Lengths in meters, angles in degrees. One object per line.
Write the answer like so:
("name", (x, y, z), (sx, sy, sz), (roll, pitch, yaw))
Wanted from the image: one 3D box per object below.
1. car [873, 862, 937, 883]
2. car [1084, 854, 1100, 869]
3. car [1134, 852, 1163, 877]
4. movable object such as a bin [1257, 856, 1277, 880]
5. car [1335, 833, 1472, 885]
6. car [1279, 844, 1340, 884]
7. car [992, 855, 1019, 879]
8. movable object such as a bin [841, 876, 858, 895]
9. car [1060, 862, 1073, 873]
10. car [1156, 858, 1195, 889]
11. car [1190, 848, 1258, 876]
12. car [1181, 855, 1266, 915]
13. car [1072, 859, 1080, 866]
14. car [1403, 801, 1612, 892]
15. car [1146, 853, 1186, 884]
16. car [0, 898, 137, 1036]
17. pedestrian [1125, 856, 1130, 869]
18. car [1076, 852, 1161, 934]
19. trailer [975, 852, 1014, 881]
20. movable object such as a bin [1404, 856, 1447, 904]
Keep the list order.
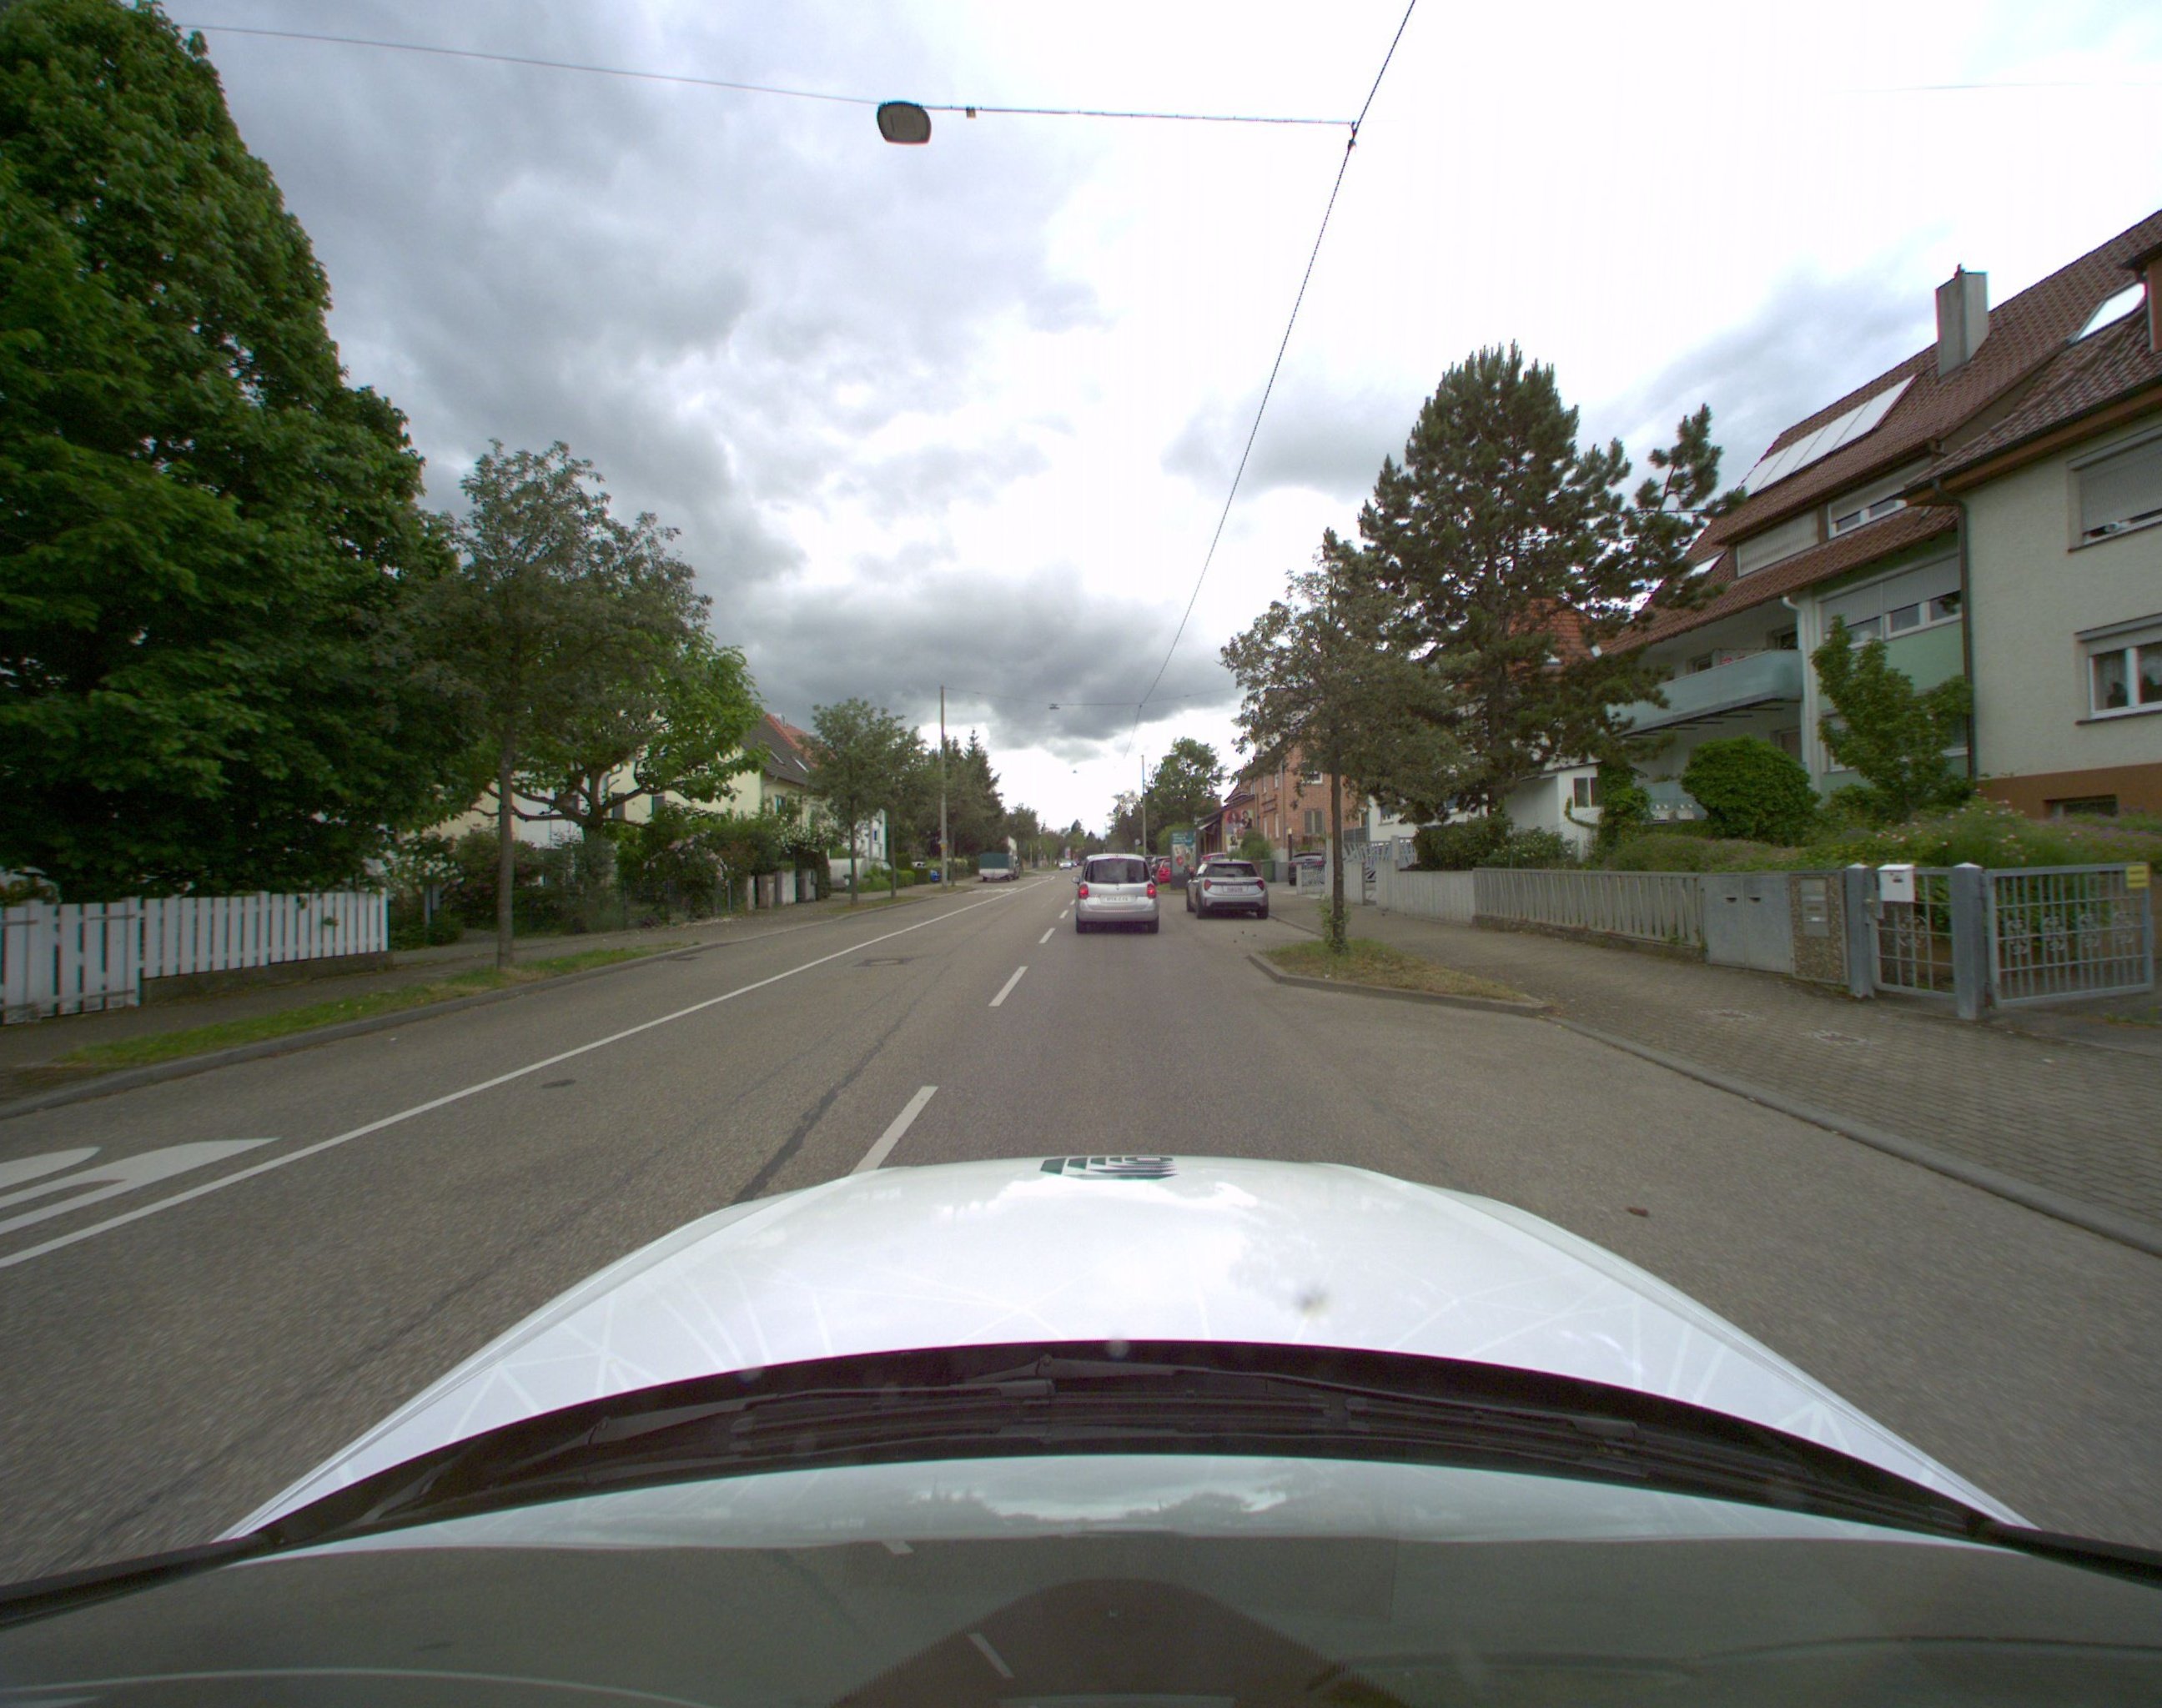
("car", (-11.535, 1.216, 53.441), (3.985, 1.338, 1.573), (0, -2, -9))
("car", (1.316, 0.888, 97.755), (1.822, 1.675, 3.575), (-2, -1, 1))
("car", (5.048, 0.809, 61.227), (1.806, 1.743, 4.000), (-2, -1, 1))
("movable object such as a bin", (8.697, 0.660, 38.102), (0.773, 1.104, 0.691), (-2, 0, 0))
("car", (11.691, 0.187, 29.636), (4.256, 1.506, 1.691), (-5, -2, -7))
("car", (9.933, 0.398, 35.212), (1.802, 1.380, 4.506), (-5, 0, 24))
("car", (-6.257, 1.102, 67.929), (1.882, 1.922, 4.560), (0, -1, 0))
("movable object such as a bin", (-10.817, 1.472, 38.061), (0.571, 0.902, 0.549), (-3, -2, 45))
("car", (-2.330, 2.203, 131.516), (1.902, 1.618, 3.994), (-1, -1, -4))
("car", (4.597, 0.920, 39.919), (1.655, 1.393, 3.671), (-2, 0, 3))
("car", (9.407, 0.533, 53.790), (3.984, 1.496, 1.805), (-4, 0, -8))
("car", (3.604, 0.775, 21.204), (1.644, 1.382, 4.001), (-1, -1, 2))
("car", (-1.118, 1.926, 177.923), (1.717, 1.411, 3.997), (0, -1, -2))
("car", (11.391, -0.110, 22.174), (1.982, 2.013, 4.684), (-5, -1, -25))
("car", (4.583, 0.770, 44.433), (1.658, 1.564, 4.096), (-1, 0, -1))
("car", (-13.798, 1.446, 8.813), (1.802, 1.564, 4.614), (-3, 0, -2))
("pedestrian", (6.226, 1.102, 109.010), (0.703, 1.647, 0.773), (-2, -1, 0))
("car", (0.788, 0.783, 17.570), (1.623, 1.557, 4.001), (0, -1, 2))
("trailer", (-6.334, 0.934, 60.284), (2.305, 2.087, 5.871), (0, -1, 0))
("movable object such as a bin", (8.285, 0.632, 19.598), (0.594, 1.056, 0.611), (-6, -2, -20))
